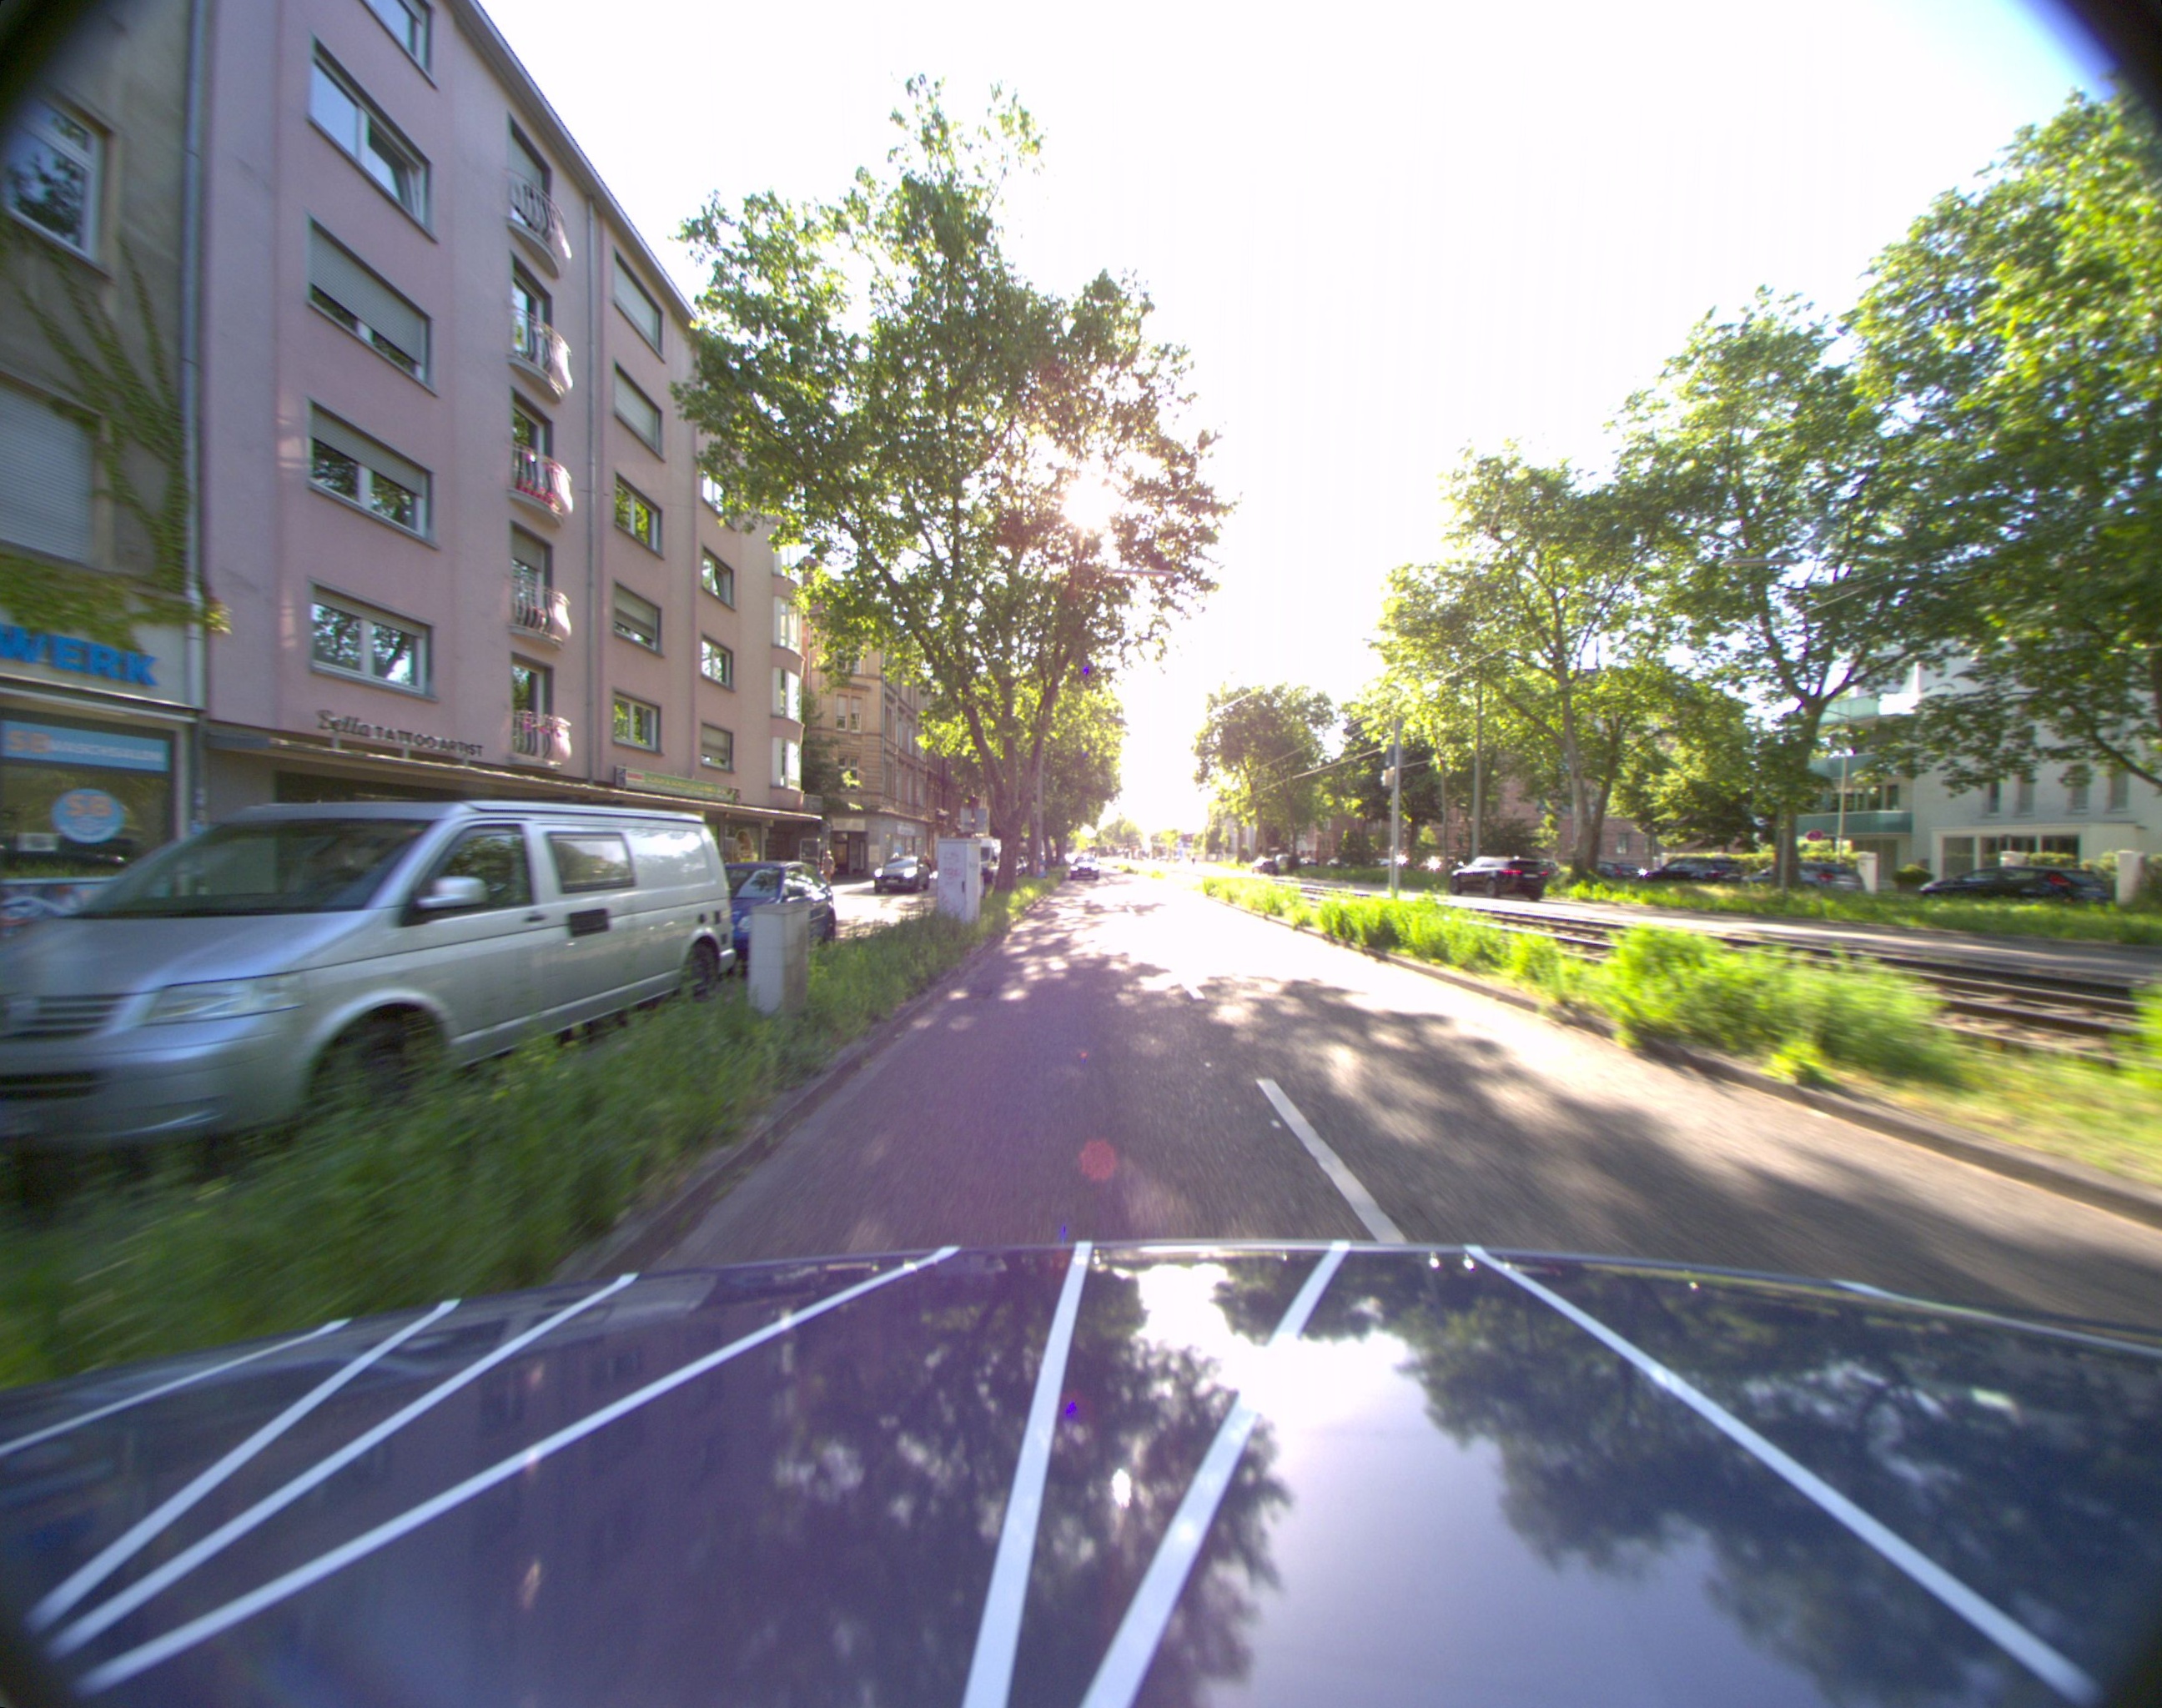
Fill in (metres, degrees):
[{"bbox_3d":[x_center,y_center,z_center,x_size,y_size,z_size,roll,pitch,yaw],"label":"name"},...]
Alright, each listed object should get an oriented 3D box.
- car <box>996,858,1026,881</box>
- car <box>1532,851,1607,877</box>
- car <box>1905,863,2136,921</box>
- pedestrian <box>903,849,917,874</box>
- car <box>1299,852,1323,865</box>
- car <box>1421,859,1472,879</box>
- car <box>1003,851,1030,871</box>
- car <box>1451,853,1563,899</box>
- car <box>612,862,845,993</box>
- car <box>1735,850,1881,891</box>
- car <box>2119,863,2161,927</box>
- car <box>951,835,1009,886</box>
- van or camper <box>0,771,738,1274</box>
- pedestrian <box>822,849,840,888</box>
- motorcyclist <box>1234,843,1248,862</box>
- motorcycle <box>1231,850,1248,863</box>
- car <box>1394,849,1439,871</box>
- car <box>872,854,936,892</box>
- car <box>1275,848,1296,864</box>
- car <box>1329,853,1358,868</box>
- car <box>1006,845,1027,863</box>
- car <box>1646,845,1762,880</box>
[{"bbox_3d":[-4.910,1.074,53.807,1.649,1.503,4.189,-1,0,1],"label":"car"},{"bbox_3d":[29.547,0.586,46.111,1.998,1.477,4.000,0,0,1],"label":"car"},{"bbox_3d":[27.909,1.062,22.811,1.998,1.524,4.000,0,0,1],"label":"car"},{"bbox_3d":[-10.947,0.491,48.687,0.738,1.557,0.730,0,1,-1],"label":"pedestrian"},{"bbox_3d":[27.271,0.508,90.224,1.771,1.477,3.688,0,0,1],"label":"car"},{"bbox_3d":[27.829,1.128,57.986,1.998,1.477,4.000,0,0,1],"label":"car"},{"bbox_3d":[-5.007,0.521,59.316,1.752,1.455,4.000,0,0,0],"label":"car"},{"bbox_3d":[16.920,0.812,30.483,1.862,1.638,4.460,2,0,-1],"label":"car"},{"bbox_3d":[-4.720,0.886,10.818,1.594,1.471,3.828,0,0,-1],"label":"car"},{"bbox_3d":[27.873,0.593,29.333,1.801,1.464,4.000,0,0,1],"label":"car"},{"bbox_3d":[28.044,1.050,17.480,1.998,1.582,4.655,0,0,1],"label":"car"},{"bbox_3d":[-5.069,0.298,39.058,2.079,2.420,5.856,-1,0,1],"label":"car"},{"bbox_3d":[-4.597,0.664,5.558,1.889,2.002,5.094,0,0,0],"label":"van or camper"},{"bbox_3d":[-11.645,0.649,35.387,0.614,1.805,0.631,0,1,3],"label":"pedestrian"},{"bbox_3d":[24.773,-0.290,117.579,1.746,2.905,1.680,0,1,2],"label":"motorcyclist"},{"bbox_3d":[24.689,0.395,118.162,1.729,2.045,3.999,0,0,-1],"label":"motorcycle"},{"bbox_3d":[28.153,0.469,63.901,1.998,1.838,4.000,0,0,1],"label":"car"},{"bbox_3d":[-7.740,0.796,33.640,1.814,1.592,4.136,0,0,1],"label":"car"},{"bbox_3d":[27.228,0.242,101.307,1.998,2.002,4.001,0,0,5],"label":"car"},{"bbox_3d":[27.619,0.664,80.003,1.771,1.477,3.688,0,0,1],"label":"car"},{"bbox_3d":[-6.465,-0.019,76.225,1.714,1.732,3.927,-1,0,1],"label":"car"},{"bbox_3d":[27.999,0.366,34.346,1.998,1.477,4.000,0,0,1],"label":"car"}]
